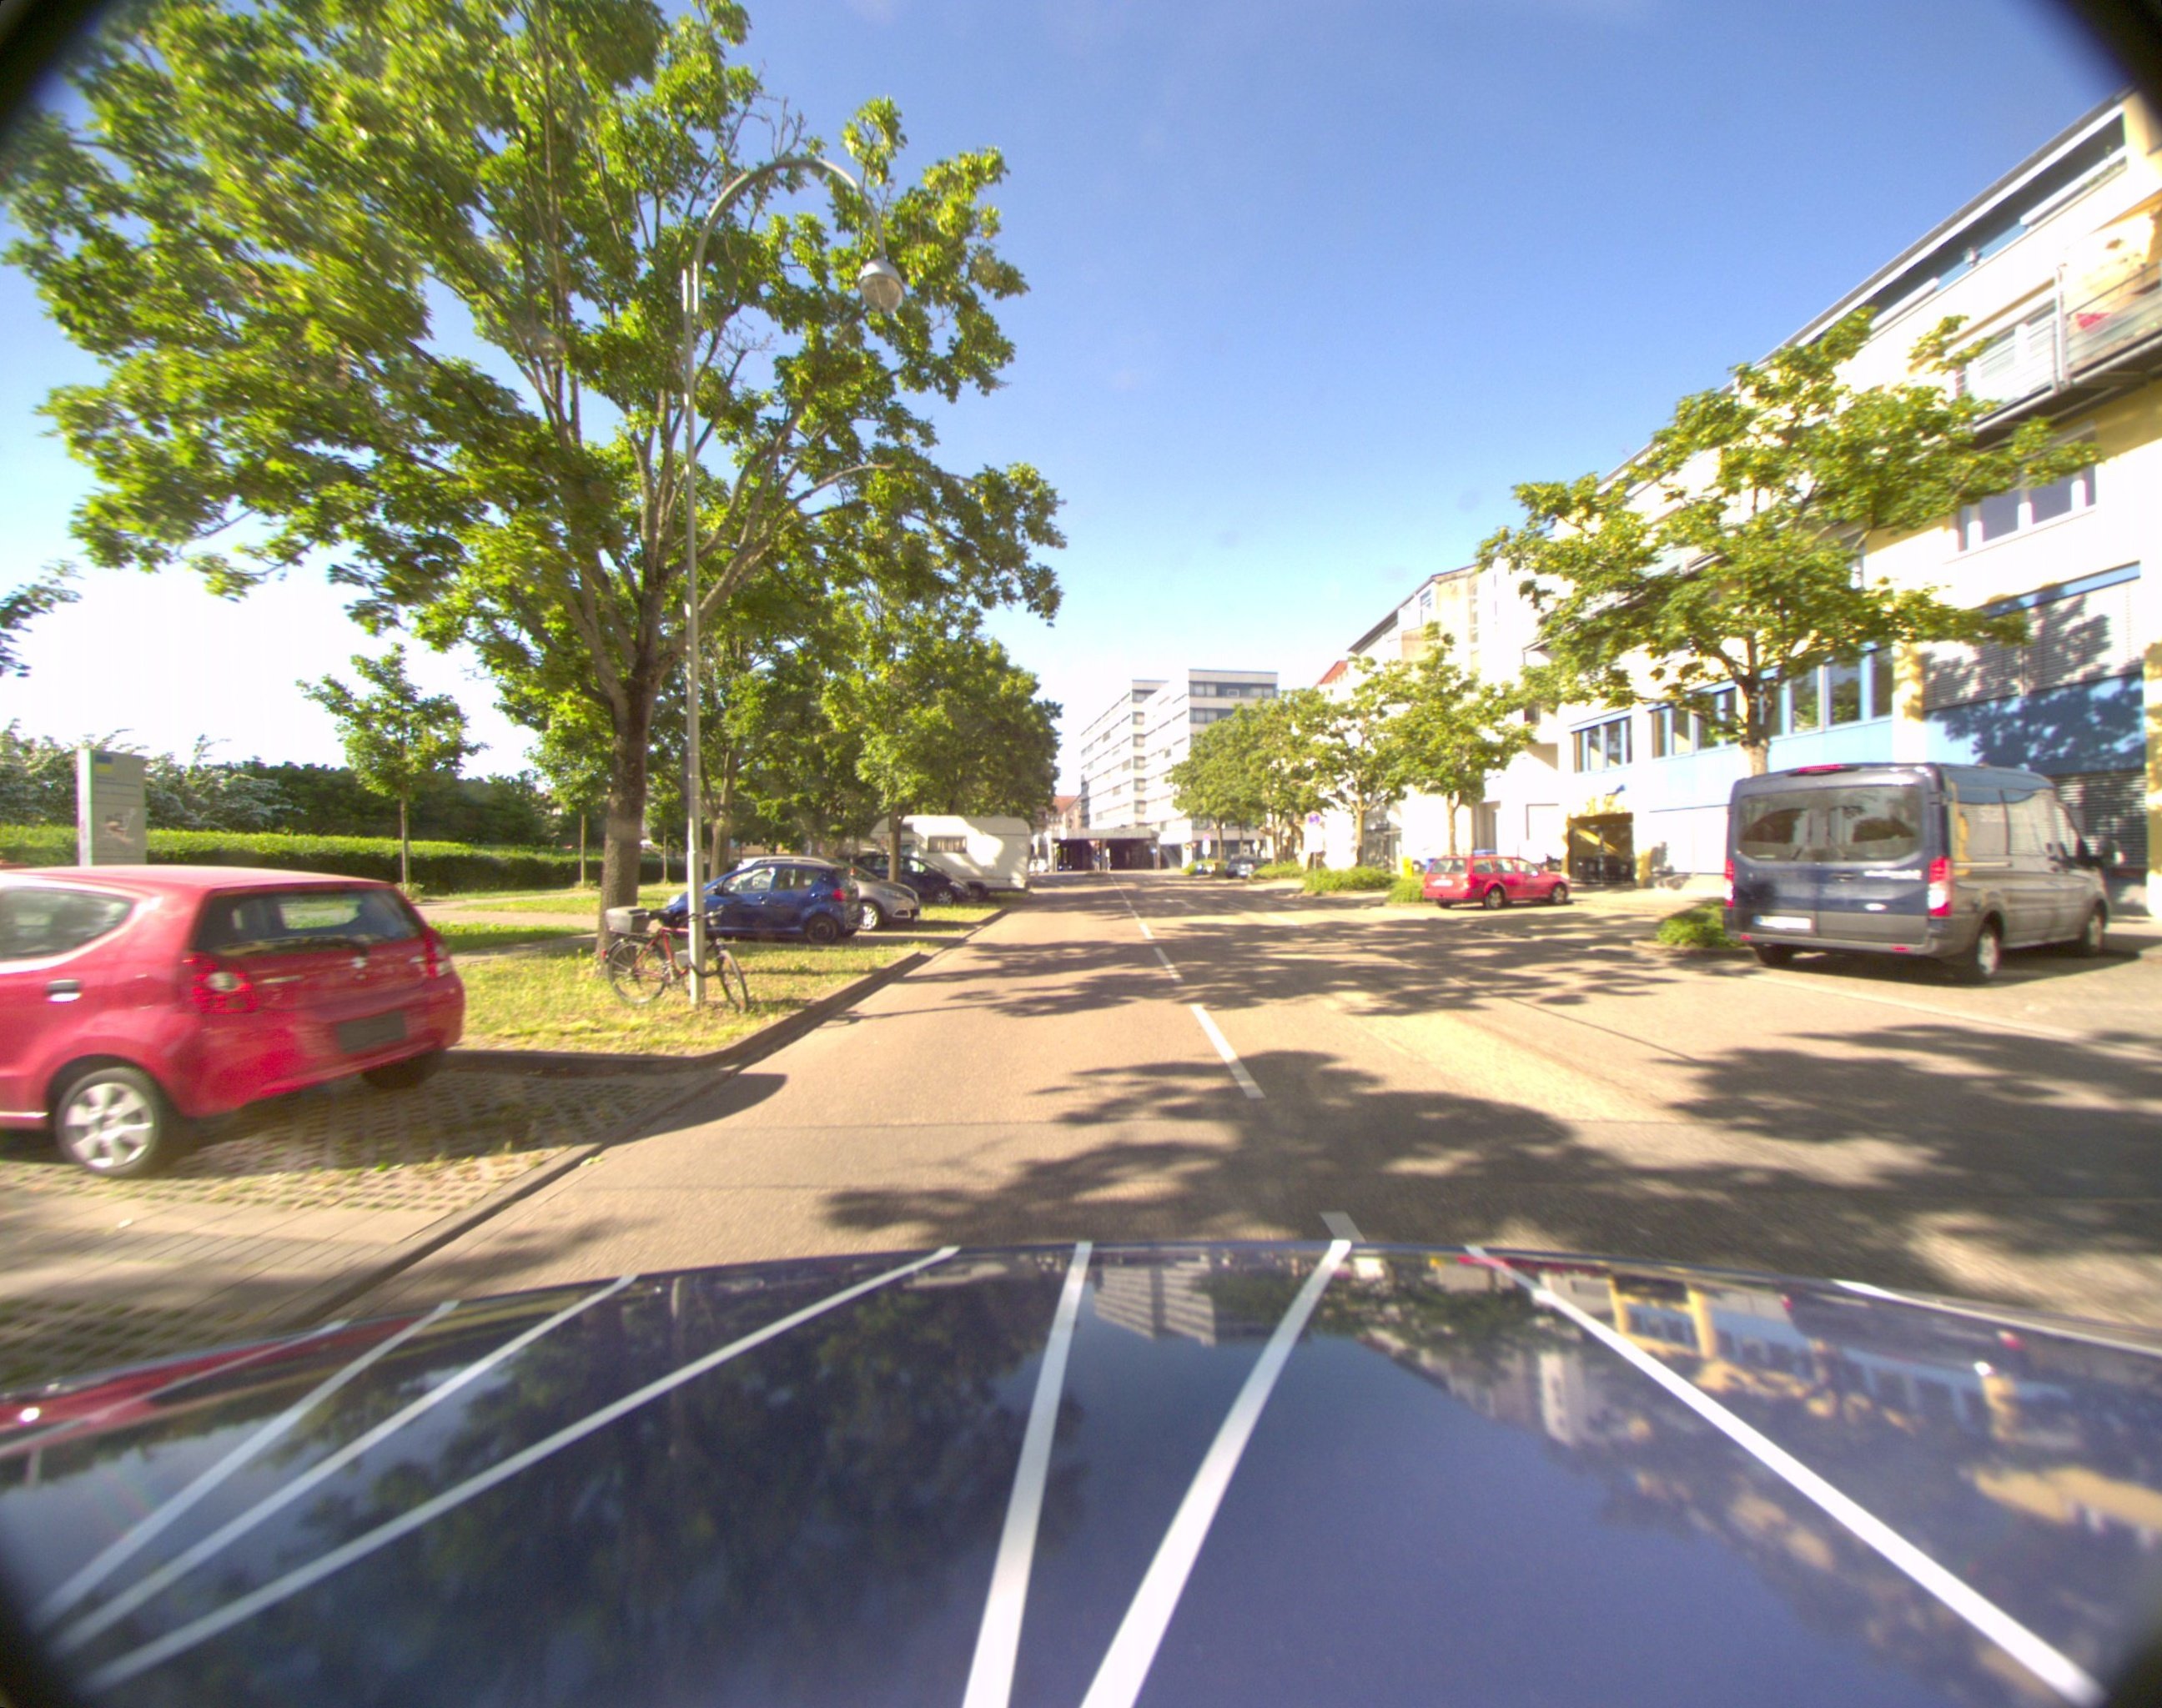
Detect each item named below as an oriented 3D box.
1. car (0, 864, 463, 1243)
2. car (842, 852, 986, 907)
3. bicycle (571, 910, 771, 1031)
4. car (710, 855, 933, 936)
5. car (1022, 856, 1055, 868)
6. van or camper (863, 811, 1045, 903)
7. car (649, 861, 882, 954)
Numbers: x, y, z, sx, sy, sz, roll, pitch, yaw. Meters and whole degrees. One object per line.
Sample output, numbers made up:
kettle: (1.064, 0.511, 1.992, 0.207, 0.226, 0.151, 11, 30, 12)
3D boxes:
car: (-5.843, 0.894, 4.251, 3.442, 1.535, 1.627, 2, 0, 2)
car: (-5.276, 0.794, 24.407, 4.160, 1.537, 1.859, 2, 0, -1)
bicycle: (-3.901, 1.073, 7.243, 1.753, 0.985, 0.530, 1, 1, 13)
car: (-5.569, 0.857, 16.684, 4.203, 1.537, 1.859, 2, 0, 2)
car: (-5.349, 1.022, 96.250, 3.748, 1.443, 1.932, -1, 0, 19)
van or camper: (-4.402, 0.109, 27.290, 5.997, 2.966, 2.670, 2, 0, 0)
car: (-5.663, 0.934, 13.998, 3.471, 1.470, 1.858, 2, 0, -2)
